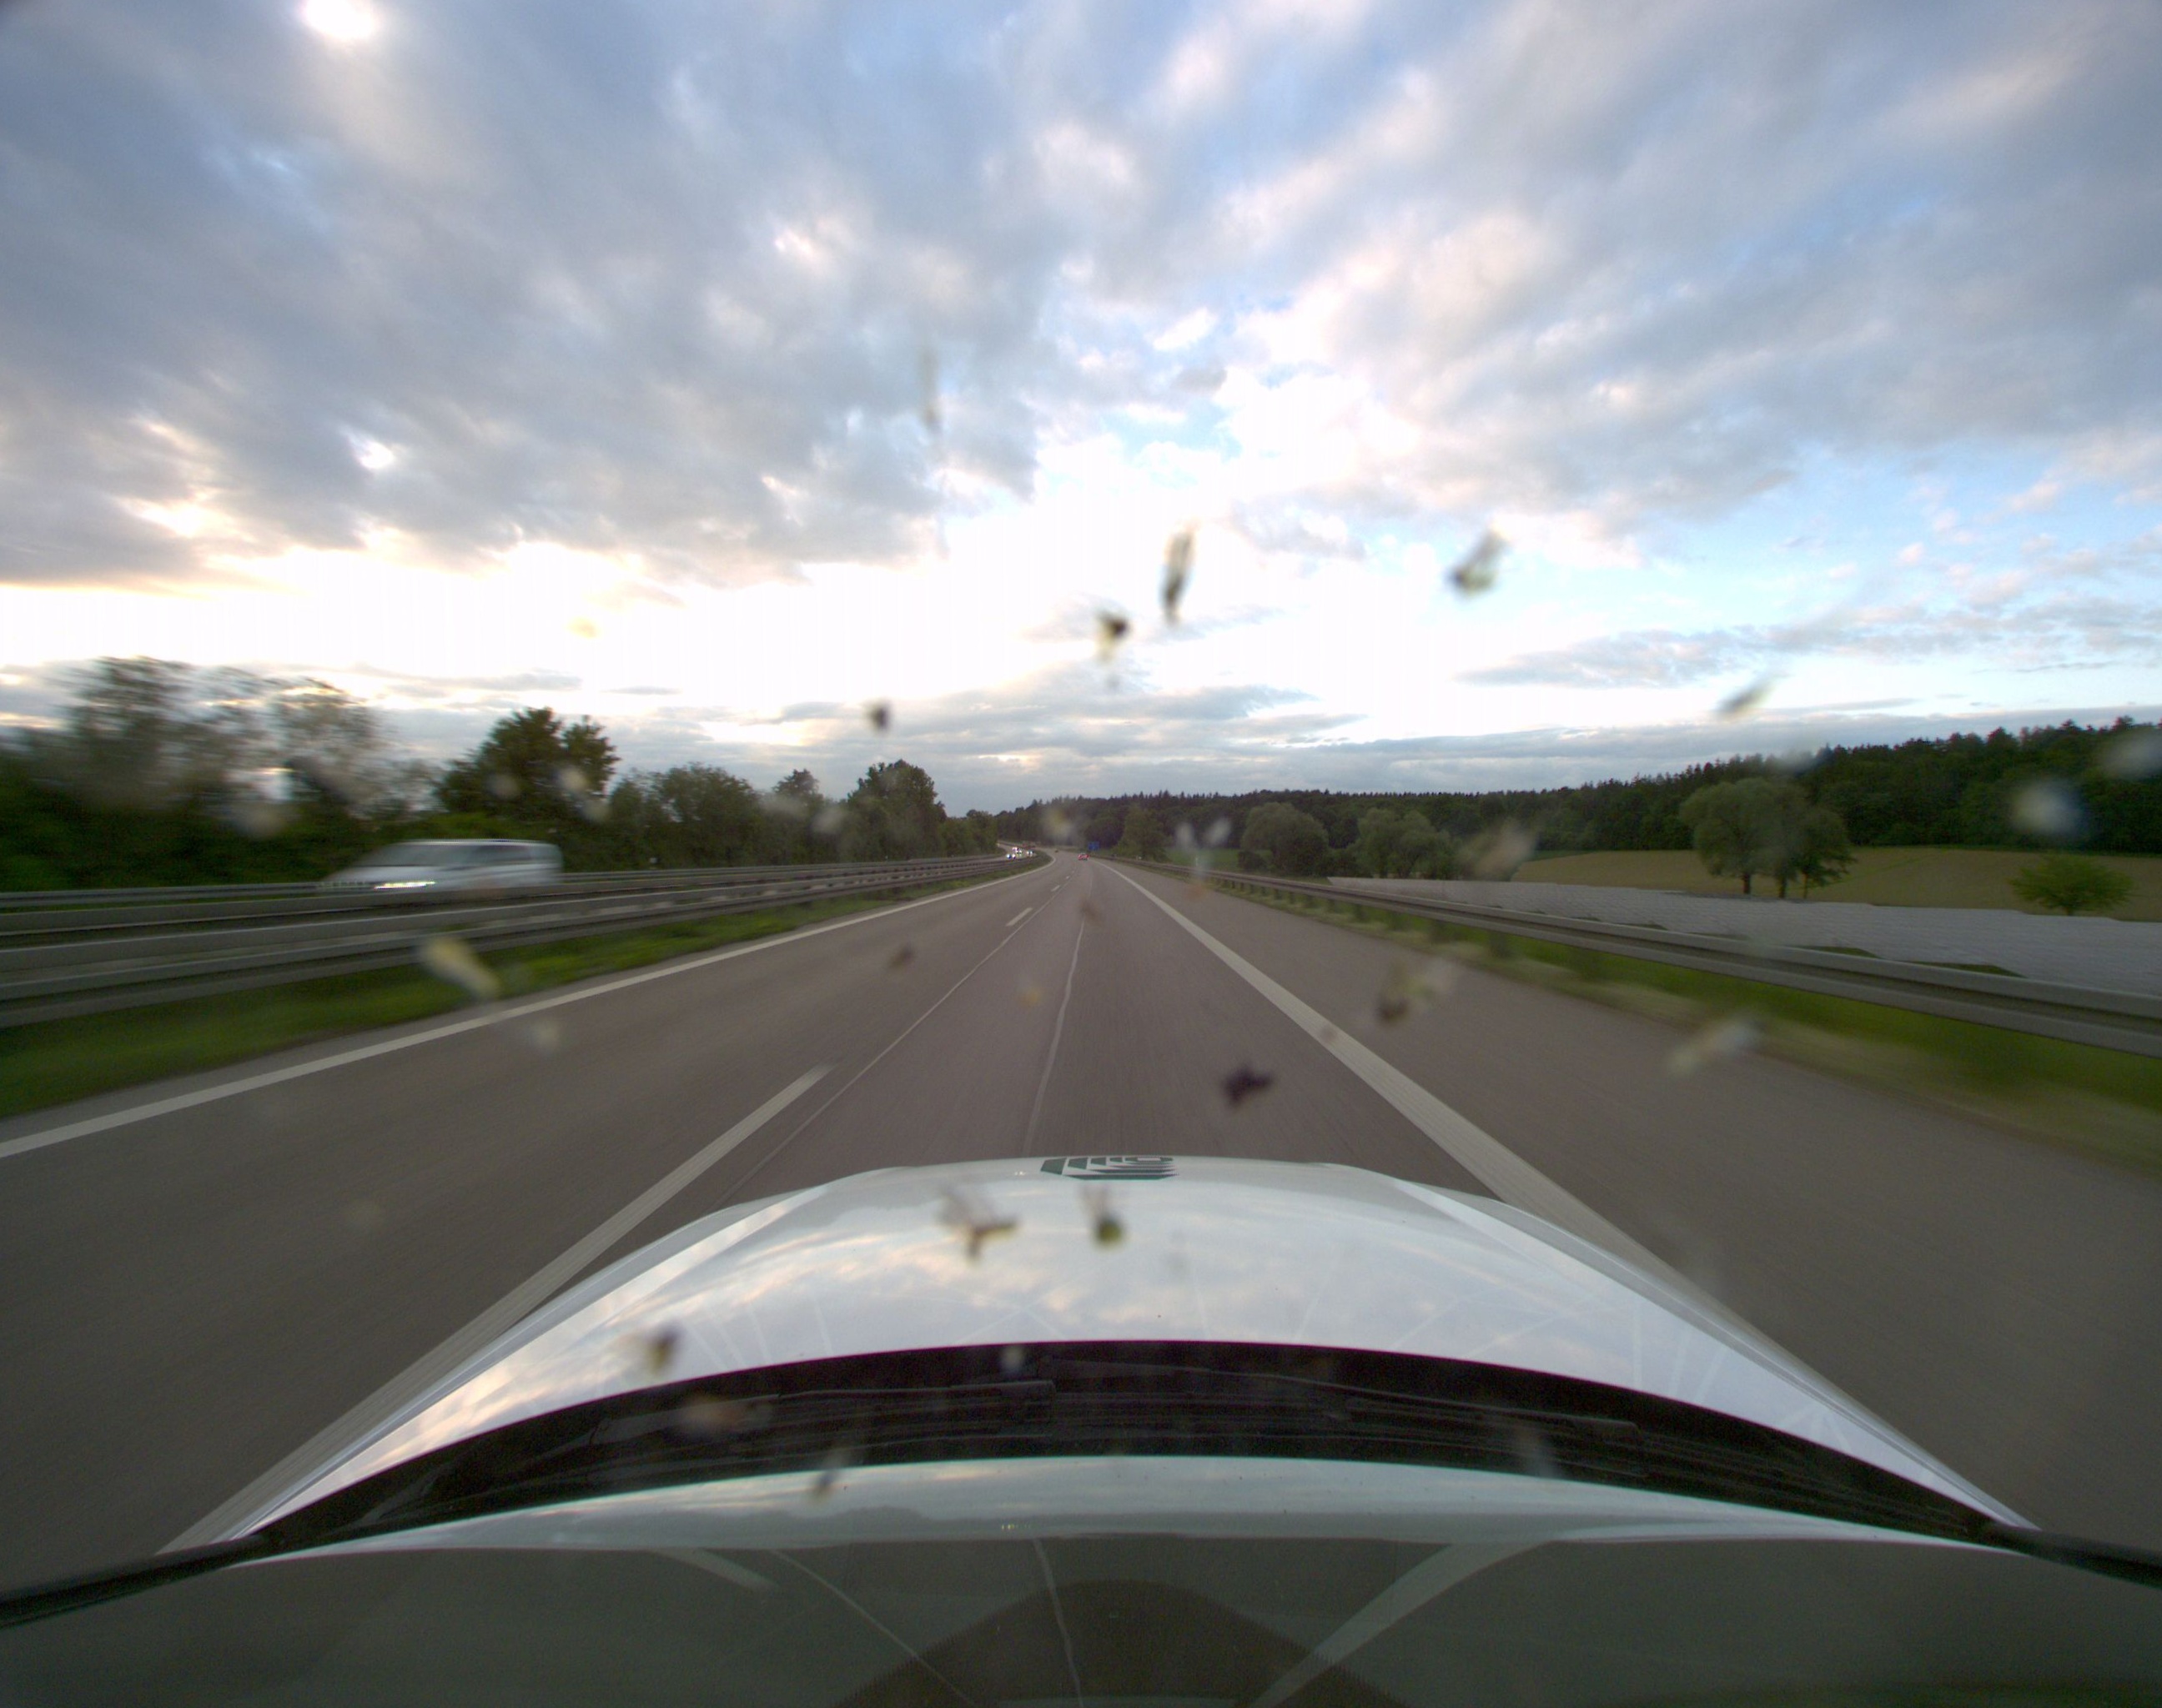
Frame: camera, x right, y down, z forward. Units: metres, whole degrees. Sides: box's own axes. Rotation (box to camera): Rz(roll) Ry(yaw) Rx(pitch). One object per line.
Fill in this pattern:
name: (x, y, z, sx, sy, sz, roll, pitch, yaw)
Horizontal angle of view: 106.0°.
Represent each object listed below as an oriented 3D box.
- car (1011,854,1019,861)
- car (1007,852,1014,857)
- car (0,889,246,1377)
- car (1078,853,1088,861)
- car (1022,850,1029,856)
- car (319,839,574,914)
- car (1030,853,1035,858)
car: (-8.518, 0.435, 104.885, 0.838, 0.940, 1.764, 2, 1, 1)
car: (-17.634, 0.154, 204.796, 1.379, 1.274, 2.749, 2, 1, 1)
car: (-3.995, 0.833, 0.759, 1.582, 1.389, 4.604, -1, 0, 2)
car: (0.393, 0.592, 171.258, 1.945, 1.531, 4.081, 2, 1, 1)
car: (-8.876, -0.216, 131.056, 0.883, 0.969, 1.765, 2, 1, 3)
car: (-16.205, 0.470, 21.371, 1.986, 1.626, 5.739, 2, 1, 2)
car: (-9.069, 0.316, 151.846, 0.885, 0.878, 1.764, 2, 1, 1)
